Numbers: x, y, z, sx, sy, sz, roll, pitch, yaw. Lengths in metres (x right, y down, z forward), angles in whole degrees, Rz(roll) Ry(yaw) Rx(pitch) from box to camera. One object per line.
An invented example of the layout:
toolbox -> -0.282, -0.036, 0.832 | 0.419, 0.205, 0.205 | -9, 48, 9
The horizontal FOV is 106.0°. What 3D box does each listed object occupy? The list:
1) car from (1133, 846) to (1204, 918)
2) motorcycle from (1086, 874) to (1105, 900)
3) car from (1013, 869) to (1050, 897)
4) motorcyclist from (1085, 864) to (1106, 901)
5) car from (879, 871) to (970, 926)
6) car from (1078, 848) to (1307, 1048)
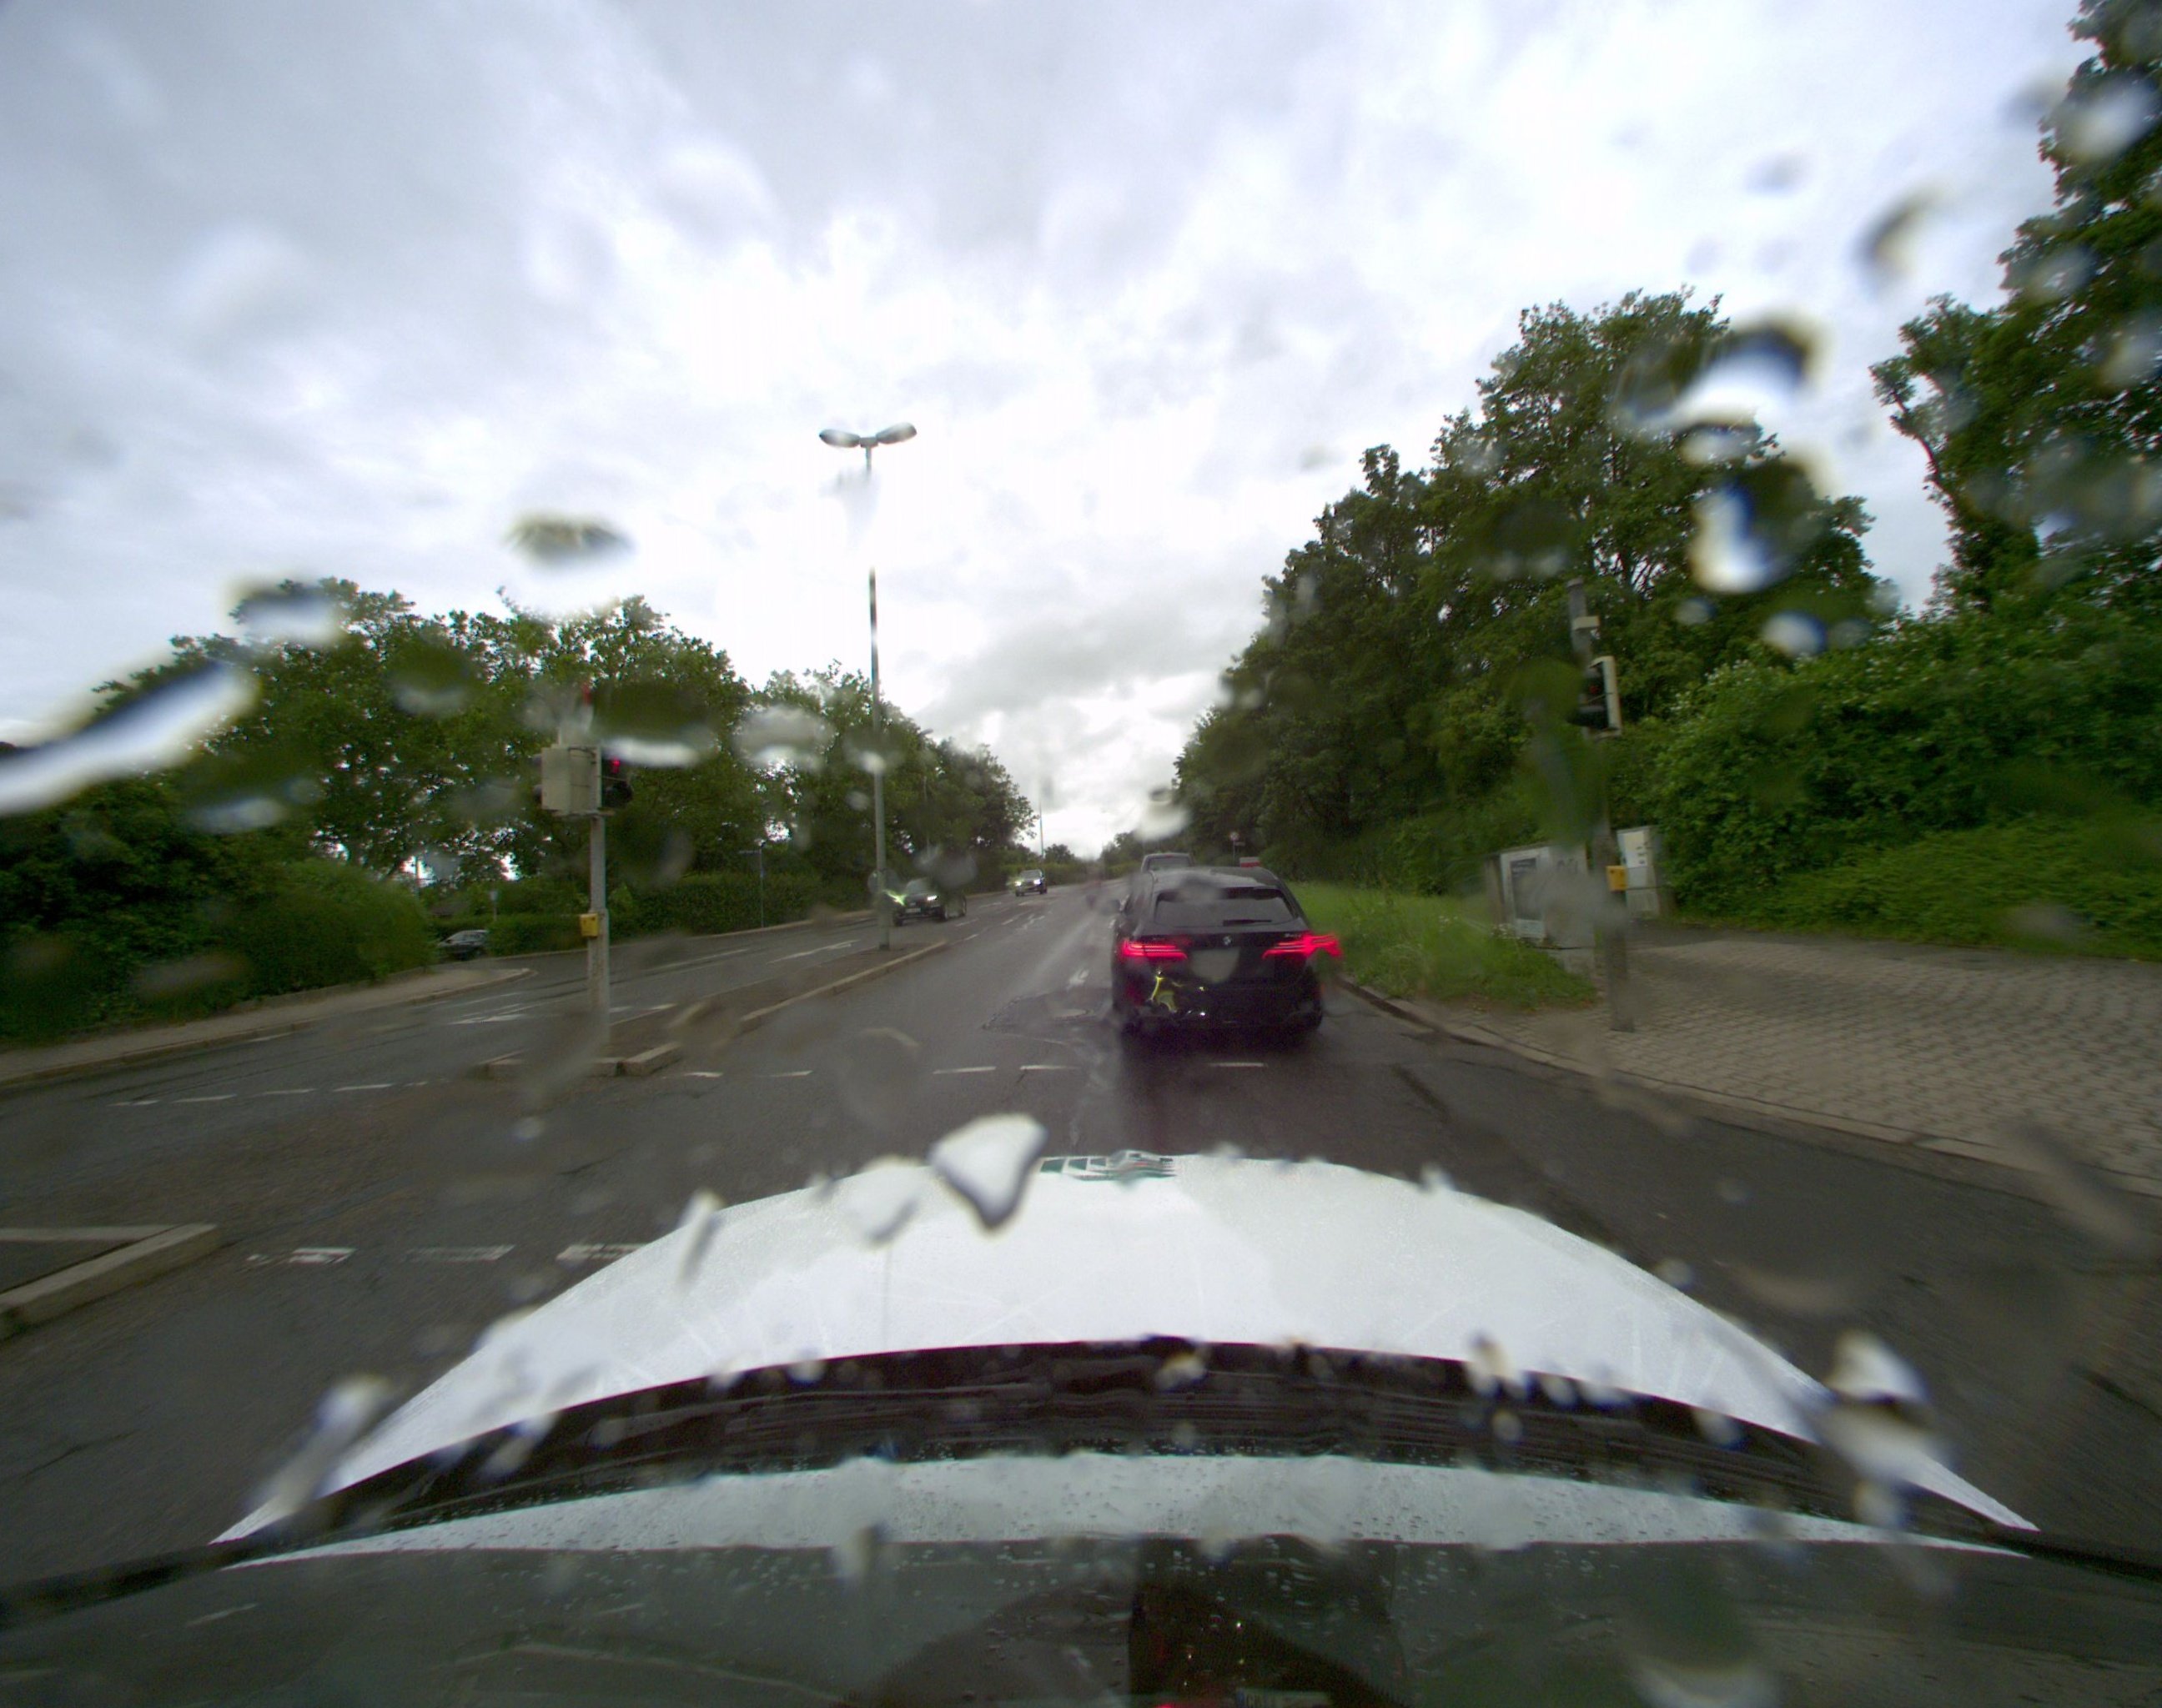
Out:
car -> 2.469, 0.716, 23.201 | 1.758, 1.810, 3.911 | -3, 0, 5
motorcycle -> 0.668, 1.548, 37.996 | 0.738, 1.119, 1.428 | -2, 0, 5
car -> -3.146, 1.813, 51.952 | 1.787, 1.603, 3.735 | -5, -1, 3
motorcyclist -> 0.677, 1.326, 38.005 | 0.841, 1.647, 0.468 | -3, 0, 5
car -> -5.287, 1.461, 28.044 | 2.016, 1.563, 3.881 | -5, -1, 4
car -> 1.059, 0.783, 8.371 | 1.756, 1.536, 3.678 | -3, -1, 5
